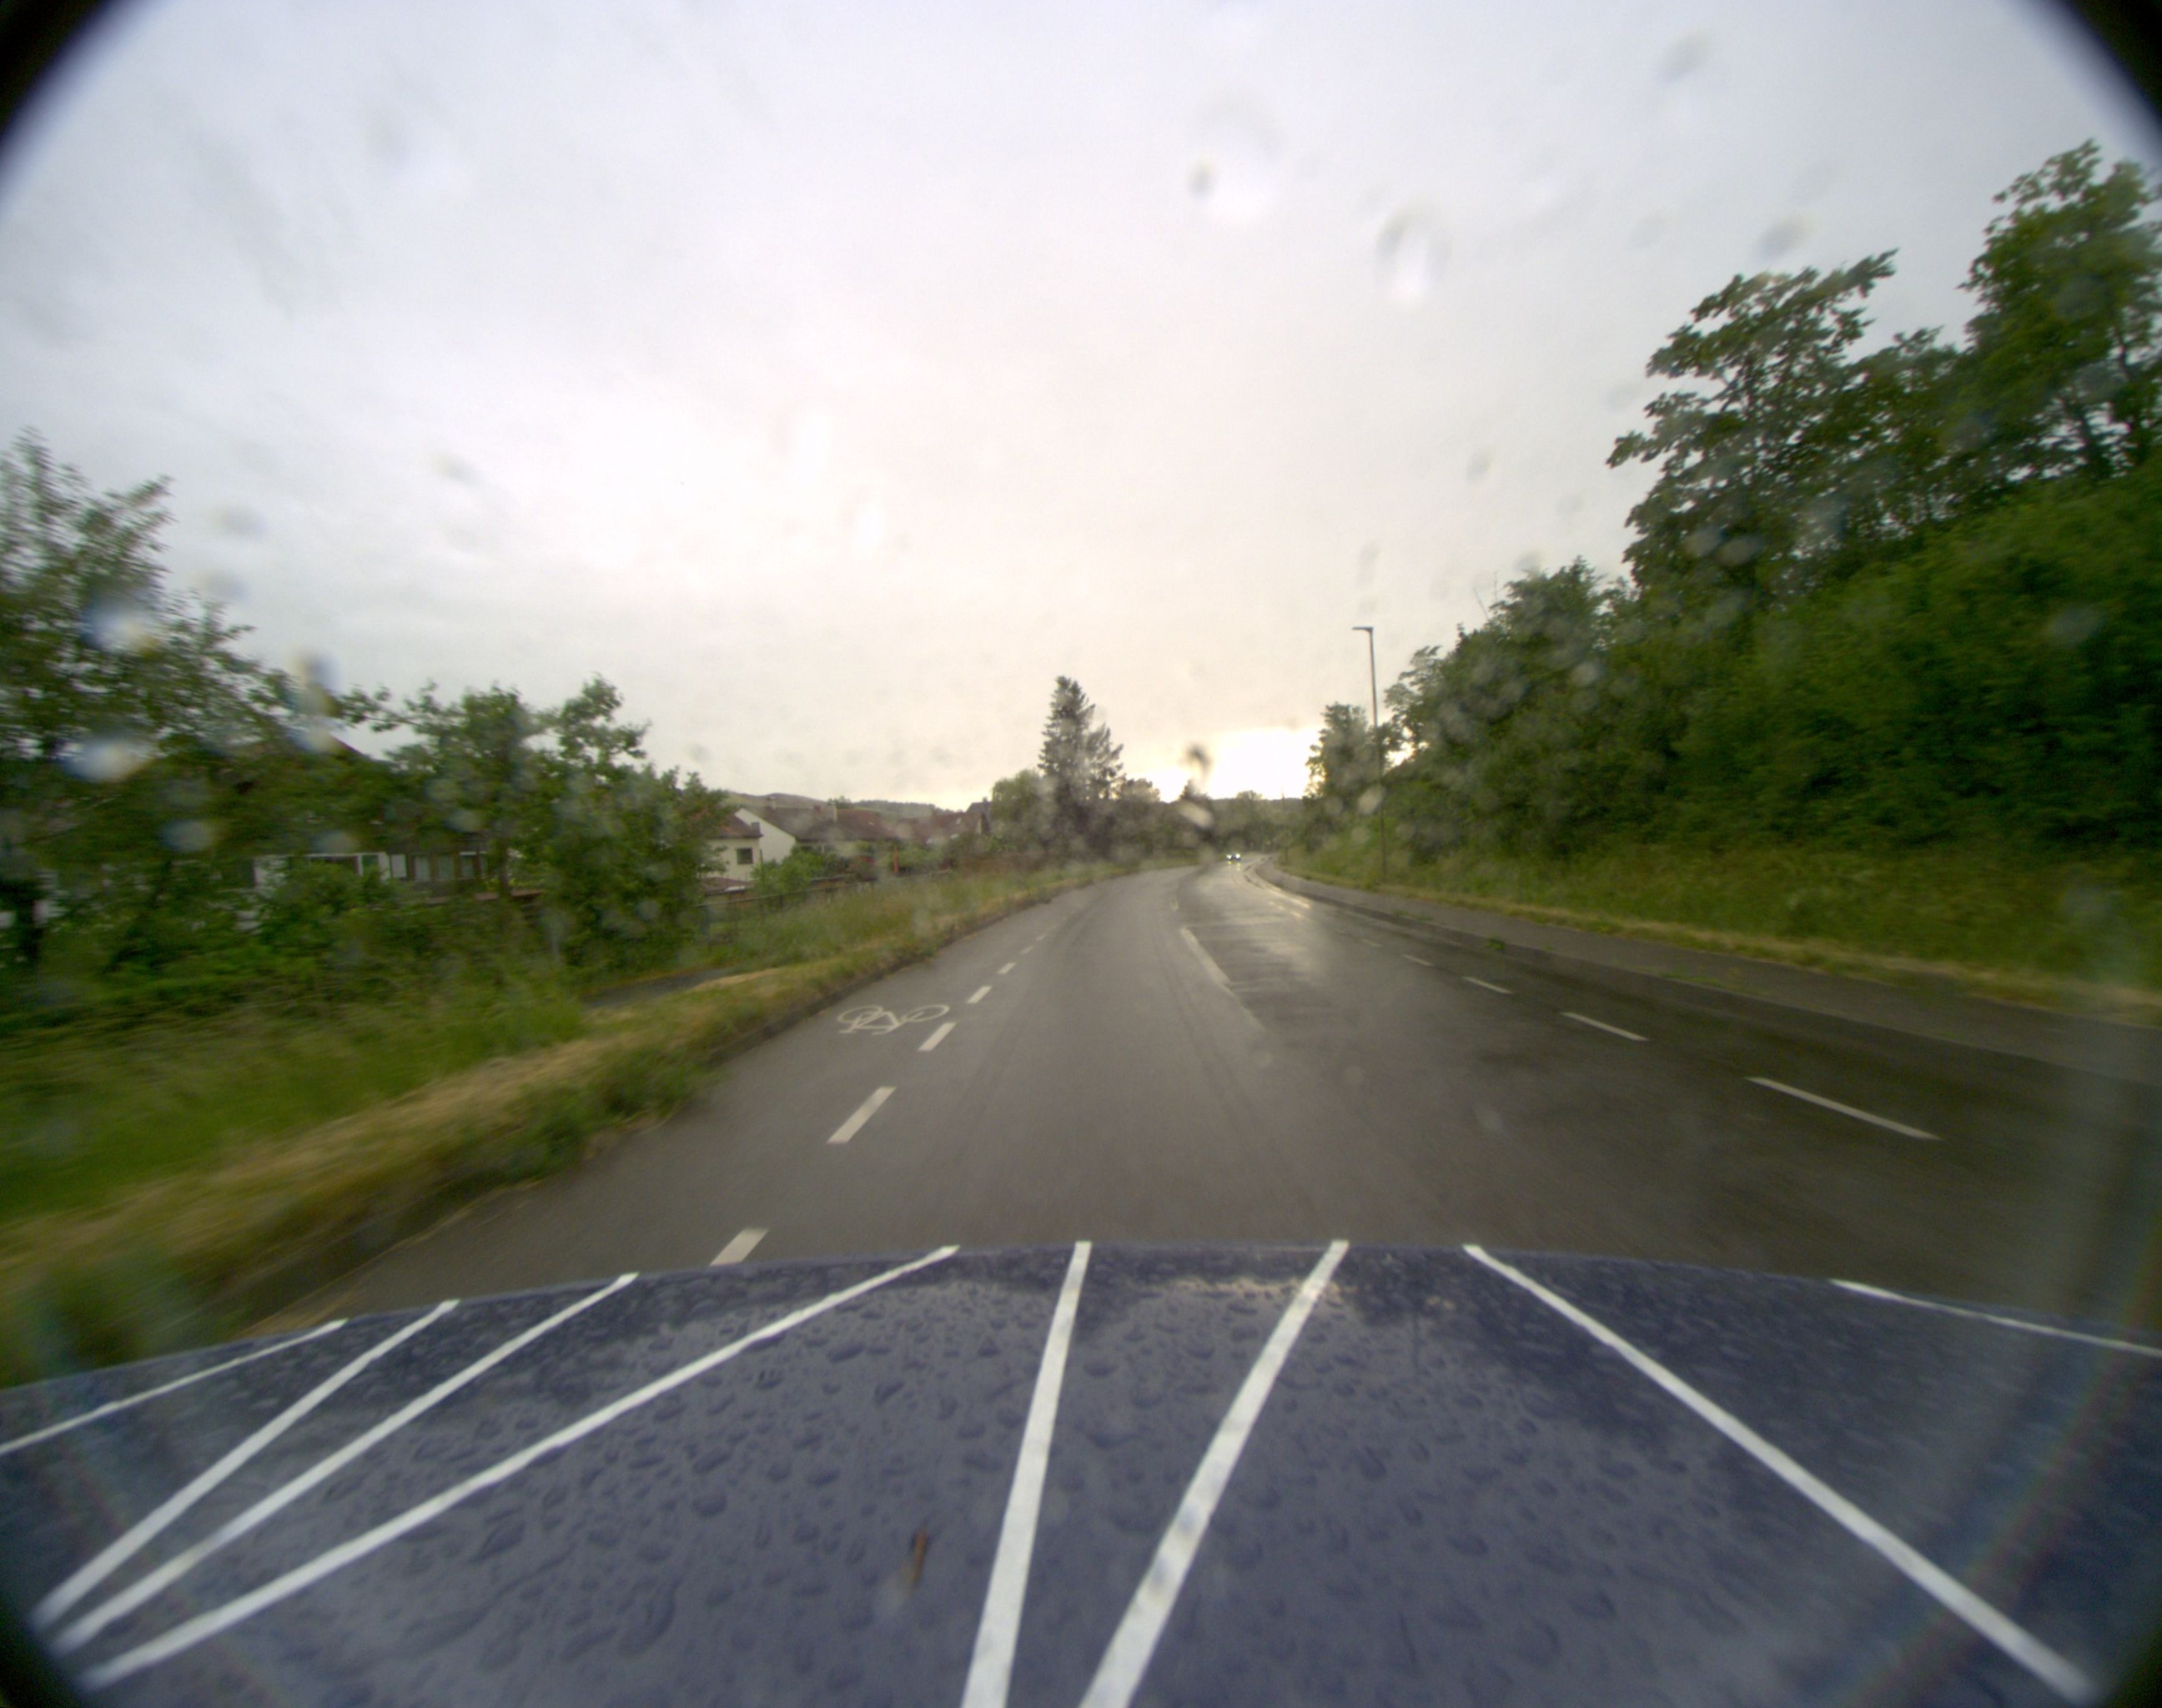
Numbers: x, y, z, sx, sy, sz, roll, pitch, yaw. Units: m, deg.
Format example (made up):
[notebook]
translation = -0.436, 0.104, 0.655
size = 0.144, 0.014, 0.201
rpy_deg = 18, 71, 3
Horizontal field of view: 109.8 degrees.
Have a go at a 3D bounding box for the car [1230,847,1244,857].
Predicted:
[car]
translation = 25.228, -0.307, 122.849
size = 1.877, 1.596, 4.004
rpy_deg = -1, 1, 16
